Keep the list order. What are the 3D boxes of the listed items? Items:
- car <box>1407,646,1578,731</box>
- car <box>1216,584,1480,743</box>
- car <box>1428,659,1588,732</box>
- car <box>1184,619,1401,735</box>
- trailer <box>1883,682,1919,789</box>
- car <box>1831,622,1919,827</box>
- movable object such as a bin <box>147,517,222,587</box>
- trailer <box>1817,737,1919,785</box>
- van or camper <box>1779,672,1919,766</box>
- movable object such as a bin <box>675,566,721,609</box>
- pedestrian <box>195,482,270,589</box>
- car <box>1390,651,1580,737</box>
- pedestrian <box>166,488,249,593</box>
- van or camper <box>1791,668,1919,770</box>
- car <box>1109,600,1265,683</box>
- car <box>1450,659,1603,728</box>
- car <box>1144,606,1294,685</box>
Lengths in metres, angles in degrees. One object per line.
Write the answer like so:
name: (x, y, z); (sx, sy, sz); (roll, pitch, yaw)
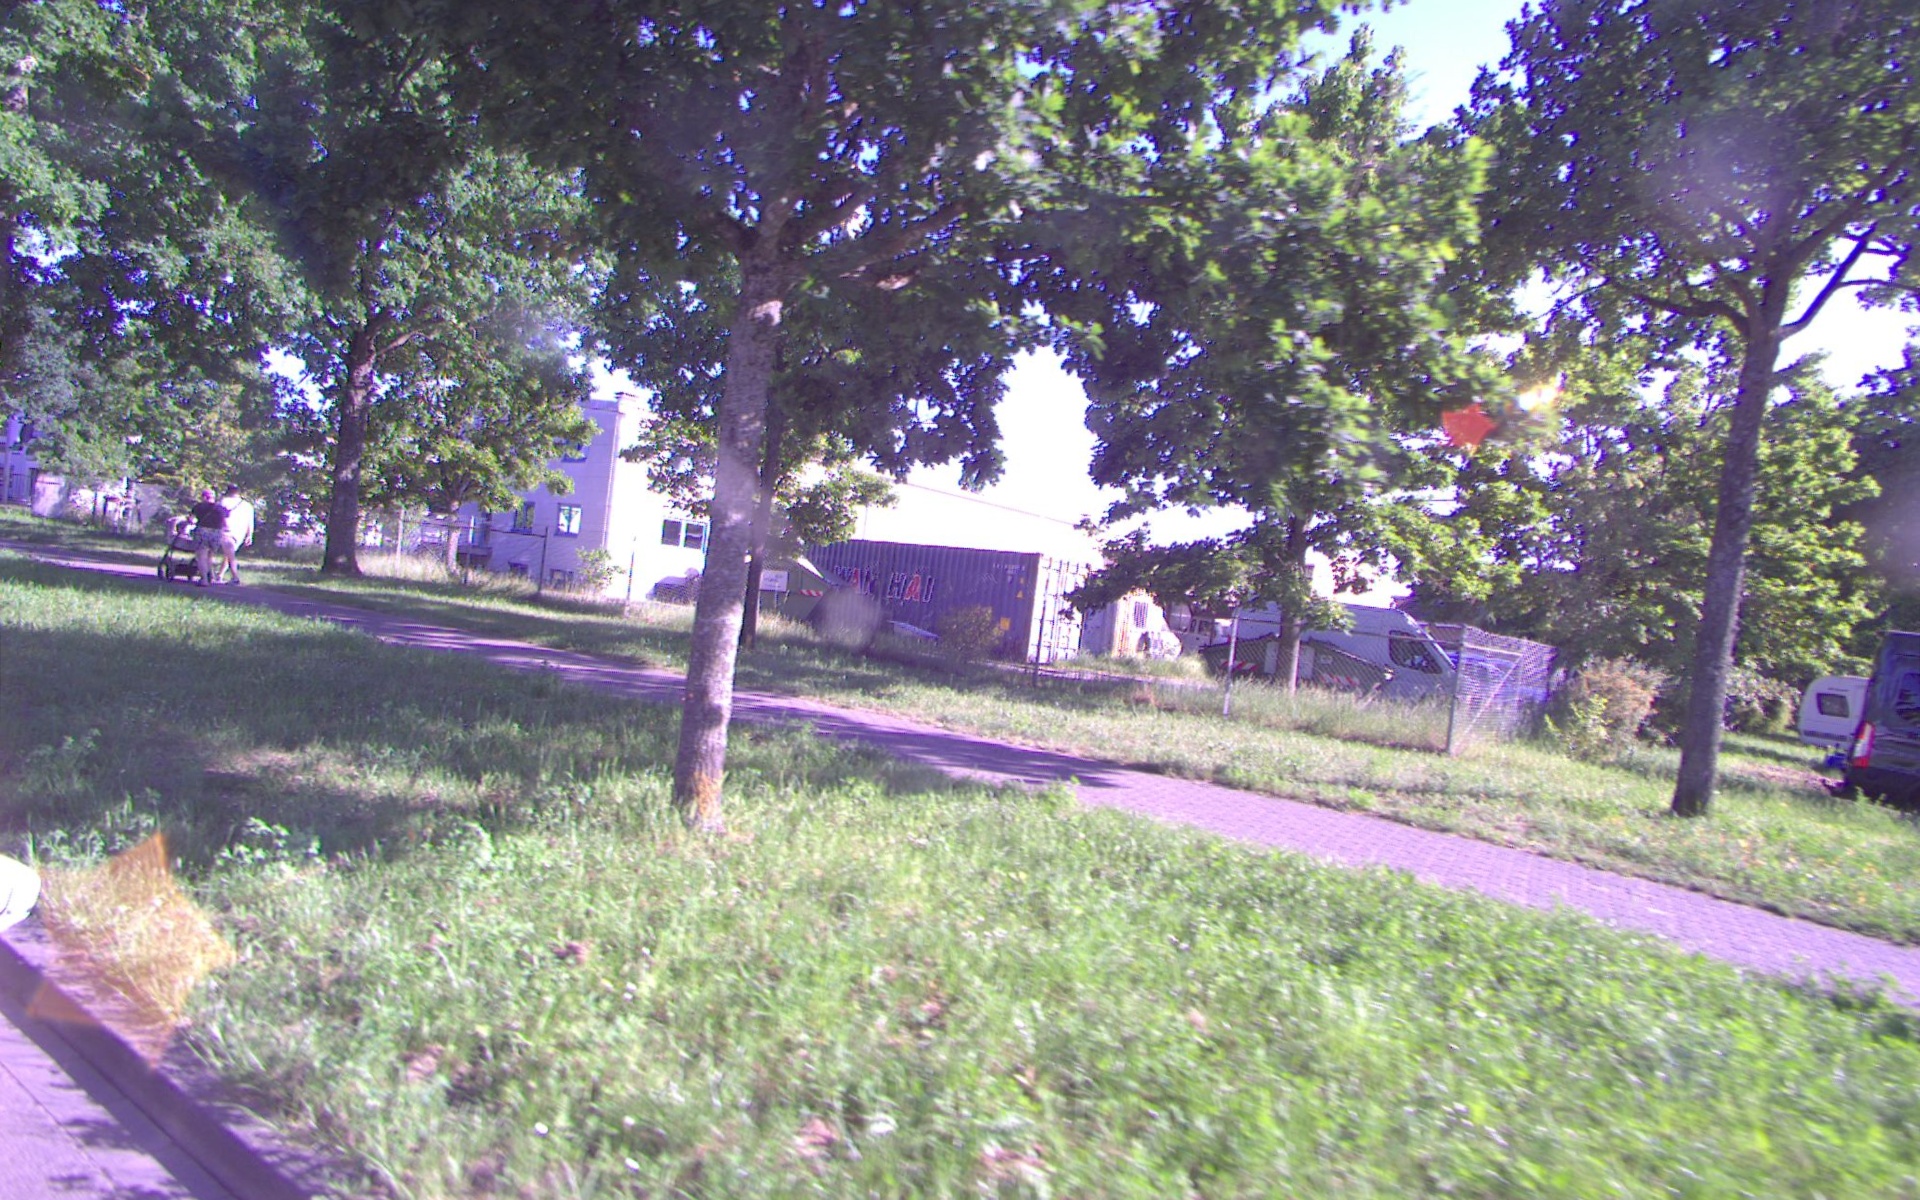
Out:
car: (15.516, 2.536, 29.383); (3.941, 1.846, 1.991); (7, 1, 39)
car: (8.370, 1.291, 21.811); (4.770, 2.676, 2.162); (7, 1, 32)
car: (16.921, 2.902, 31.135); (3.941, 1.612, 1.992); (7, 1, 39)
car: (6.544, 1.465, 19.820); (3.537, 1.685, 2.007); (7, 1, 32)
trailer: (23.257, 3.267, 22.410); (3.739, 2.336, 2.184); (7, 1, 44)
car: (15.010, 2.097, 12.565); (5.889, 2.597, 2.081); (11, 2, 44)
movable object such as a bin: (-13.314, -0.822, 17.275); (0.853, 1.095, 0.726); (7, 3, 31)
trailer: (20.575, 3.537, 20.389); (4.758, 0.659, 2.223); (7, 0, 44)
van or camper: (31.757, 4.175, 34.083); (5.841, 2.607, 2.175); (7, 1, 44)
movable object such as a bin: (-9.790, -0.477, 37.558); (1.180, 1.424, 1.046); (6, 1, -42)
pedestrian: (-12.933, -1.144, 17.890); (0.853, 1.779, 0.726); (7, 3, 31)
car: (13.937, 2.475, 26.894); (1.825, 1.660, 3.958); (6, 1, -37)
pedestrian: (-12.571, -0.994, 16.813); (0.853, 1.623, 0.726); (7, 1, 31)
van or camper: (29.147, 3.790, 29.759); (6.688, 2.607, 2.175); (7, 1, 44)
car: (8.232, 1.474, 36.811); (4.944, 2.087, 2.081); (11, 1, 43)
car: (18.482, 3.013, 32.882); (3.941, 1.612, 1.992); (7, 1, 39)
car: (9.872, 1.717, 38.592); (4.944, 2.087, 2.081); (11, 1, 43)
